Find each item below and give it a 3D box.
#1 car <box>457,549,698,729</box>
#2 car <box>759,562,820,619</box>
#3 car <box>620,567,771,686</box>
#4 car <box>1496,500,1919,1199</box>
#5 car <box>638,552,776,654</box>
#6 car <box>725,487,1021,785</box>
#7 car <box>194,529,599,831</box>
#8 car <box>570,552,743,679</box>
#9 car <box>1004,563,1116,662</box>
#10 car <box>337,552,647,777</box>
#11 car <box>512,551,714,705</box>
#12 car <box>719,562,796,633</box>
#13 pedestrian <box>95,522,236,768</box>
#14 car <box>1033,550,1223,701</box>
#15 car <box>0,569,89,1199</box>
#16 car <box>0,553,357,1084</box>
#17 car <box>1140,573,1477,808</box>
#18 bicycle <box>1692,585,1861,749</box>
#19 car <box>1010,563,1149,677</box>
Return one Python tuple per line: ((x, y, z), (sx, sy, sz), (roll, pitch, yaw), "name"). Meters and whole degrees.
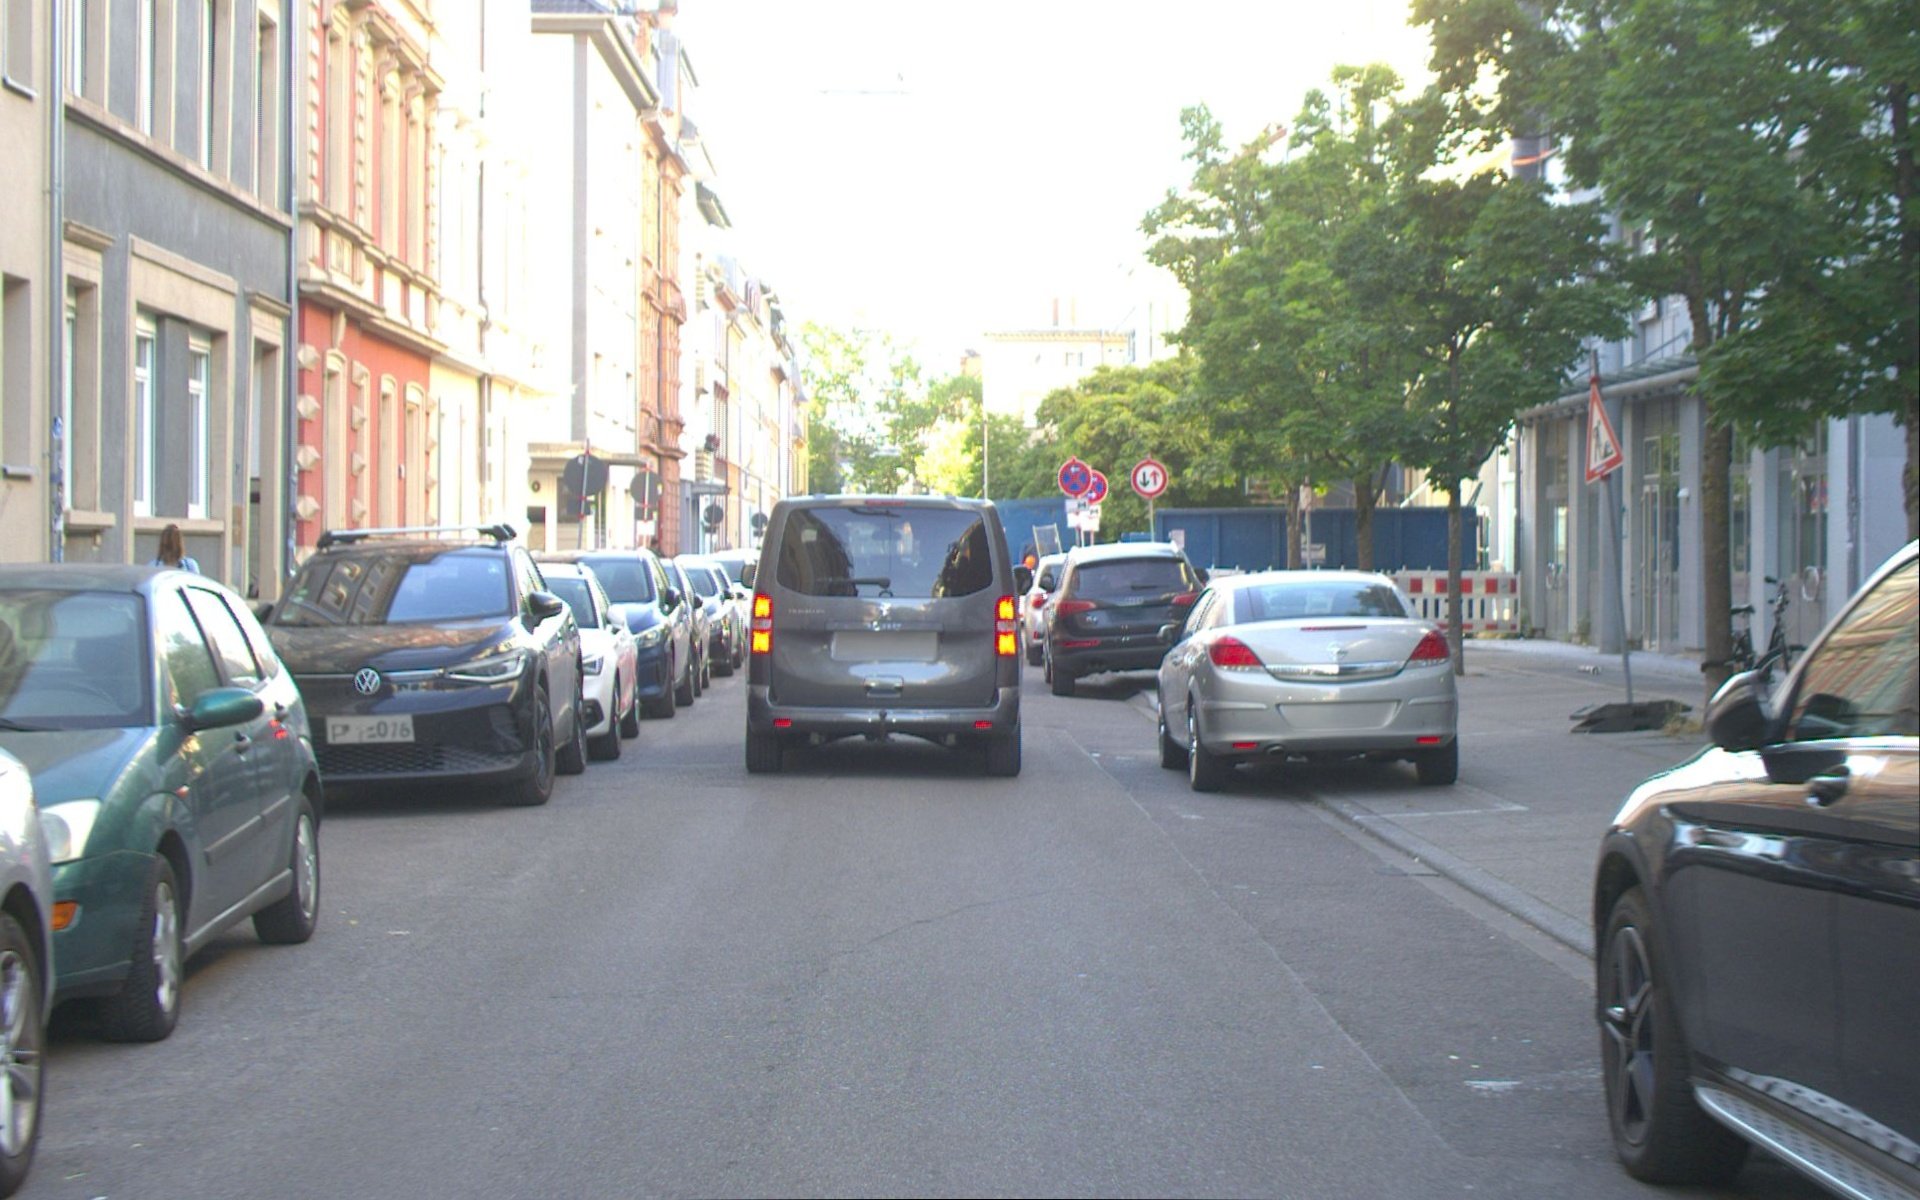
((-3.564, 0.316, 32.750), (1.920, 1.555, 4.267), (-1, 1, -2), "car")
((-6.116, -0.336, 123.091), (1.891, 1.840, 4.349), (5, 0, -4), "car")
((-3.724, 0.343, 48.995), (1.920, 1.555, 4.267), (-1, 1, -2), "car")
((2.400, 0.638, 6.736), (1.871, 1.630, 4.723), (-1, 0, -1), "car")
((-3.966, 0.010, 54.388), (1.920, 1.502, 4.267), (-1, 1, -1), "car")
((-0.590, 0.238, 24.371), (1.865, 1.880, 4.235), (2, 0, -1), "car")
((-3.411, 0.417, 21.628), (1.920, 1.658, 4.469), (-1, 1, -2), "car")
((-3.795, 0.162, 43.565), (1.920, 1.479, 4.267), (-1, 1, -2), "car")
((1.570, 0.176, 53.756), (1.676, 1.471, 3.729), (-1, 0, 2), "car")
((-3.528, 0.428, 26.646), (1.920, 1.555, 4.267), (-1, 1, -2), "car")
((-3.782, 0.265, 38.092), (1.901, 1.555, 4.241), (-1, 1, -2), "car")
((-5.528, -0.073, 93.542), (1.891, 1.714, 3.754), (5, 0, -4), "car")
((-5.913, 0.326, 25.642), (0.789, 1.784, 1.092), (-1, 0, -1), "pedestrian")
((1.883, 0.260, 39.704), (1.885, 1.617, 4.434), (-1, 0, -1), "car")
((-3.091, 0.695, 6.291), (1.922, 1.483, 4.618), (-1, 0, -2), "car")
((-3.300, 0.607, 11.813), (1.779, 1.483, 4.421), (-1, 0, -2), "car")
((2.261, 0.541, 23.347), (1.763, 1.424, 4.345), (-1, 0, -1), "car")
((5.999, 0.472, 25.337), (0.520, 1.164, 1.741), (-1, 0, -11), "bicycle")
((1.655, 0.256, 48.794), (1.676, 1.520, 3.971), (-1, 0, -2), "car")
